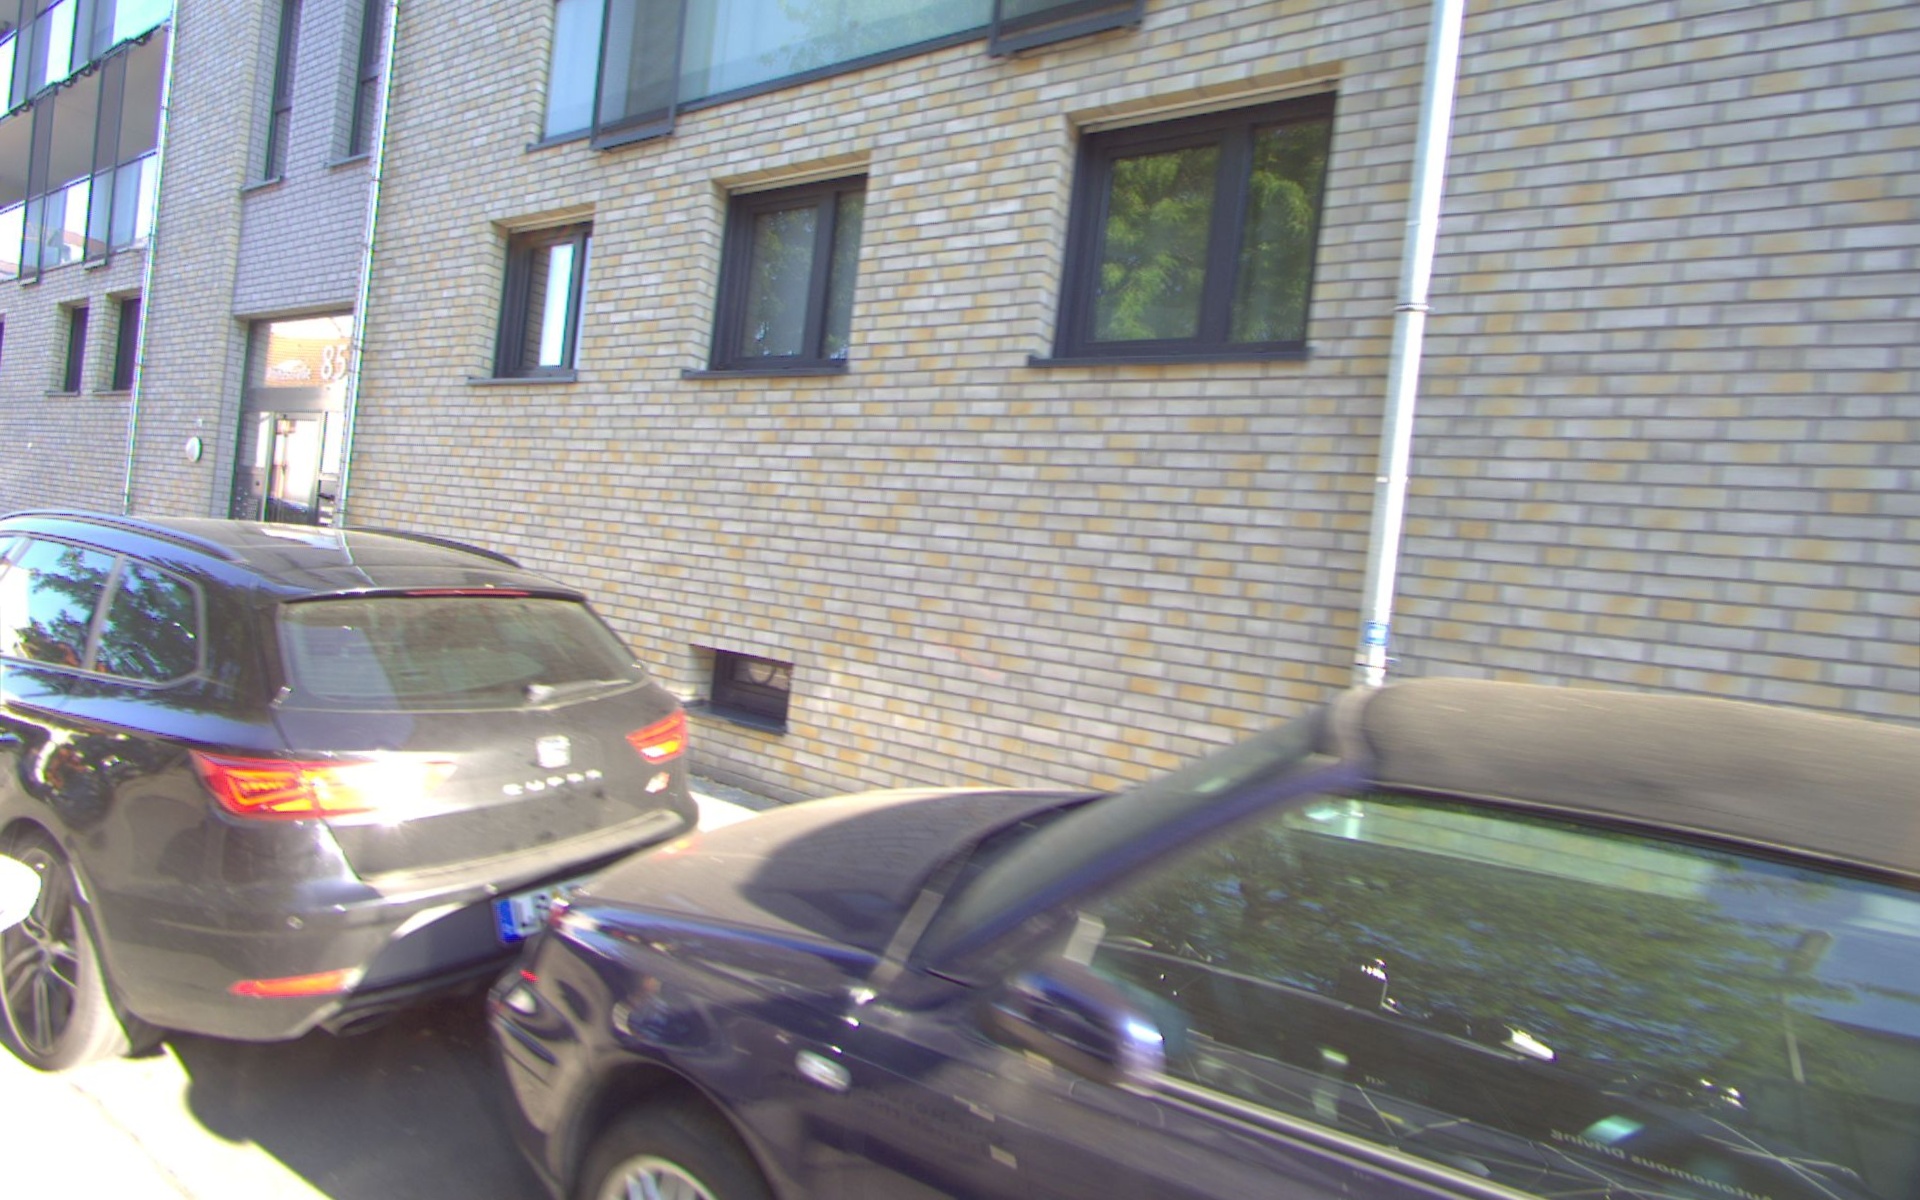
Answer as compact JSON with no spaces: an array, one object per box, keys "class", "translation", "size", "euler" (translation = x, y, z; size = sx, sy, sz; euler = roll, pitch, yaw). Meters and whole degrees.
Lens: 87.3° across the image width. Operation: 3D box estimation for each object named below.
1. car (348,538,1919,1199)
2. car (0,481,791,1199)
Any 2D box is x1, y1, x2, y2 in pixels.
[{"class":"car","translation":[0.936,0.885,1.808],"size":[4.147,1.537,1.664],"euler":[7,3,30]},{"class":"car","translation":[-3.074,0.381,3.944],"size":[4.639,1.487,1.697],"euler":[7,3,30]}]
